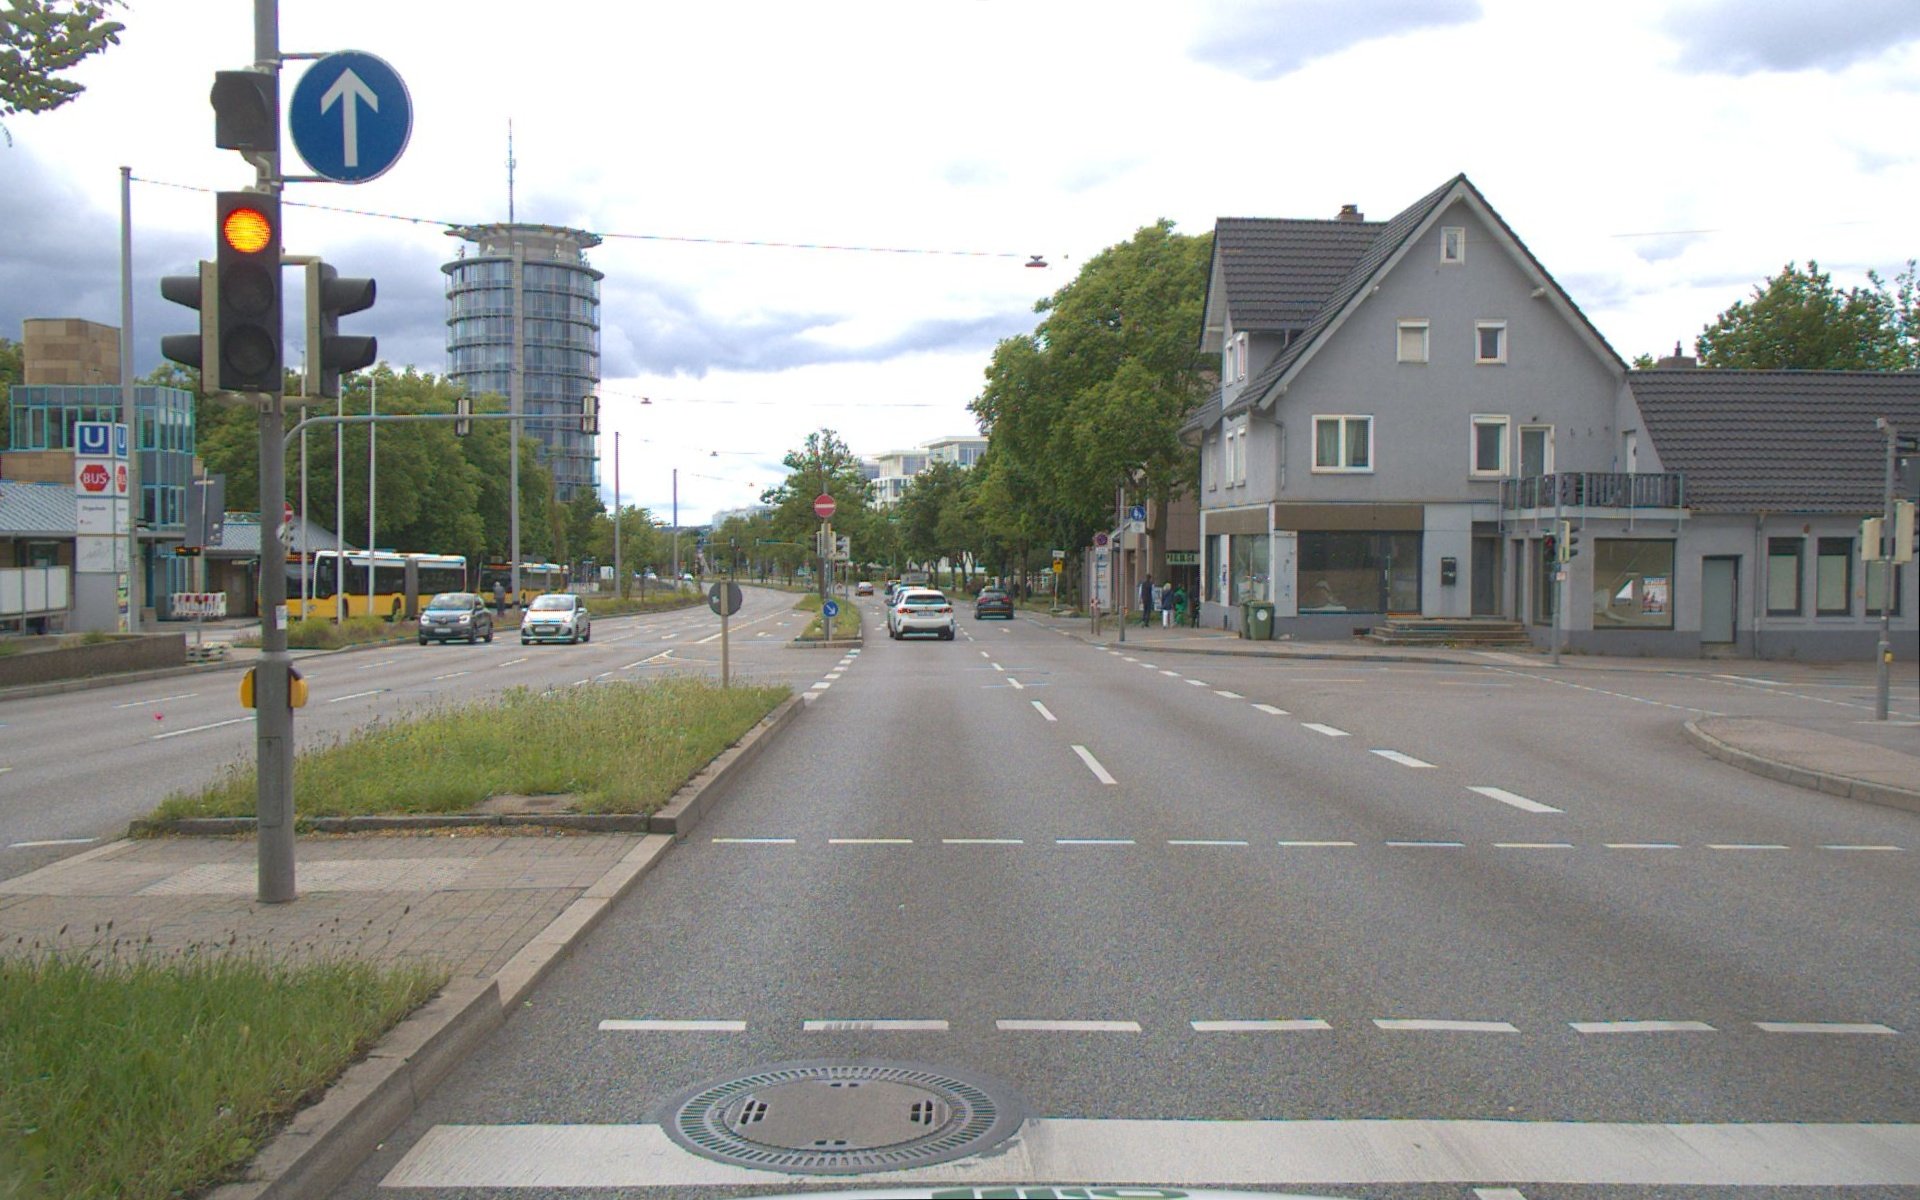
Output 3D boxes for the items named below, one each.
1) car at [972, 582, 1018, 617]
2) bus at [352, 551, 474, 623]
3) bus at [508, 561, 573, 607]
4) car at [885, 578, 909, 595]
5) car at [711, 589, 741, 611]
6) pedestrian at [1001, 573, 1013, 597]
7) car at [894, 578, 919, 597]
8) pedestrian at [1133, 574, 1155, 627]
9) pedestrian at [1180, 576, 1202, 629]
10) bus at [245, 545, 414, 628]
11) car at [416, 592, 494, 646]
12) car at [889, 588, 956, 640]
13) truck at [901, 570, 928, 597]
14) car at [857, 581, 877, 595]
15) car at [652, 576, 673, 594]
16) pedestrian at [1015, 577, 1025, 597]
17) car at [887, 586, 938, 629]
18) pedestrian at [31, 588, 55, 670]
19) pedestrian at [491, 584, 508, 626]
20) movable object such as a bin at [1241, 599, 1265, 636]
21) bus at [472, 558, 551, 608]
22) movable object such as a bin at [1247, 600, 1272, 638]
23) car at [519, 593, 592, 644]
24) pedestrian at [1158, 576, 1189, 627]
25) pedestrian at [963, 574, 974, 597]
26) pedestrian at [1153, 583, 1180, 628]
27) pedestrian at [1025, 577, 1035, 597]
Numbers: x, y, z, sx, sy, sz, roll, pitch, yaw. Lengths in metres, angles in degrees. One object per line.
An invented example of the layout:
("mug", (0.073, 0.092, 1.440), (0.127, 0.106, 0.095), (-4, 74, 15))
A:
("car", (1.612, 0.001, 77.341), (1.851, 1.521, 4.097), (-1, -1, -2))
("bus", (-26.545, -0.617, 80.721), (2.927, 3.327, 7.879), (-1, 0, 3))
("bus", (-31.145, -1.138, 123.013), (3.081, 3.281, 7.762), (0, 0, -2))
("car", (-6.598, -1.399, 173.783), (2.207, 1.676, 4.927), (0, 0, -6))
("car", (-16.426, -0.031, 116.351), (1.668, 1.518, 3.561), (-1, 0, -2))
("pedestrian", (4.076, -1.318, 143.276), (0.951, 2.049, 0.981), (1, -1, -2))
("car", (-5.398, -1.252, 165.005), (2.207, 1.787, 4.927), (0, 0, -5))
("pedestrian", (6.419, 0.023, 57.546), (0.690, 1.811, 0.871), (-1, 0, 10))
("pedestrian", (7.946, 0.082, 56.810), (0.690, 1.791, 1.053), (0, 0, 10))
("bus", (-27.083, -0.564, 71.696), (2.927, 3.307, 10.174), (-1, 0, 3))
("car", (-15.474, 0.562, 50.816), (1.652, 1.606, 3.344), (0, 0, -6))
("car", (-1.109, 0.399, 50.330), (1.953, 1.503, 4.256), (-1, 0, 0))
("truck", (-4.345, -1.544, 156.428), (2.207, 2.459, 4.927), (0, 0, -5))
("car", (-9.716, -1.269, 173.025), (1.929, 1.444, 4.017), (0, 0, -6))
("car", (-35.902, -1.840, 199.745), (1.925, 2.049, 3.999), (1, 0, -1))
("pedestrian", (4.761, -1.011, 131.282), (0.638, 1.597, 0.669), (0, 0, -9))
("car", (-1.760, 0.265, 62.239), (1.785, 1.567, 4.114), (0, 0, 0))
("pedestrian", (-18.352, 0.580, 33.110), (0.414, 1.619, 0.353), (0, 0, -30))
("pedestrian", (-21.670, 0.231, 77.815), (0.648, 1.930, 0.685), (0, 0, -4))
("movable object such as a bin", (7.966, 0.462, 44.953), (0.518, 0.997, 0.736), (0, 0, -1))
("bus", (-30.783, -1.123, 114.015), (3.082, 3.281, 10.279), (0, 0, -3))
("movable object such as a bin", (7.996, 0.494, 44.164), (0.518, 0.997, 0.736), (0, 0, -1))
("car", (-12.366, 0.547, 50.728), (1.651, 1.488, 3.552), (0, 0, -5))
("pedestrian", (7.689, 0.051, 59.466), (0.857, 1.811, 0.701), (0, 0, -27))
("pedestrian", (0.886, -1.451, 171.057), (0.914, 2.349, 1.008), (1, -1, -10))
("pedestrian", (7.118, 0.175, 56.964), (0.691, 1.533, 0.869), (-1, 0, 26))
("pedestrian", (5.565, -1.014, 131.325), (0.638, 1.597, 0.669), (0, 0, -9))
